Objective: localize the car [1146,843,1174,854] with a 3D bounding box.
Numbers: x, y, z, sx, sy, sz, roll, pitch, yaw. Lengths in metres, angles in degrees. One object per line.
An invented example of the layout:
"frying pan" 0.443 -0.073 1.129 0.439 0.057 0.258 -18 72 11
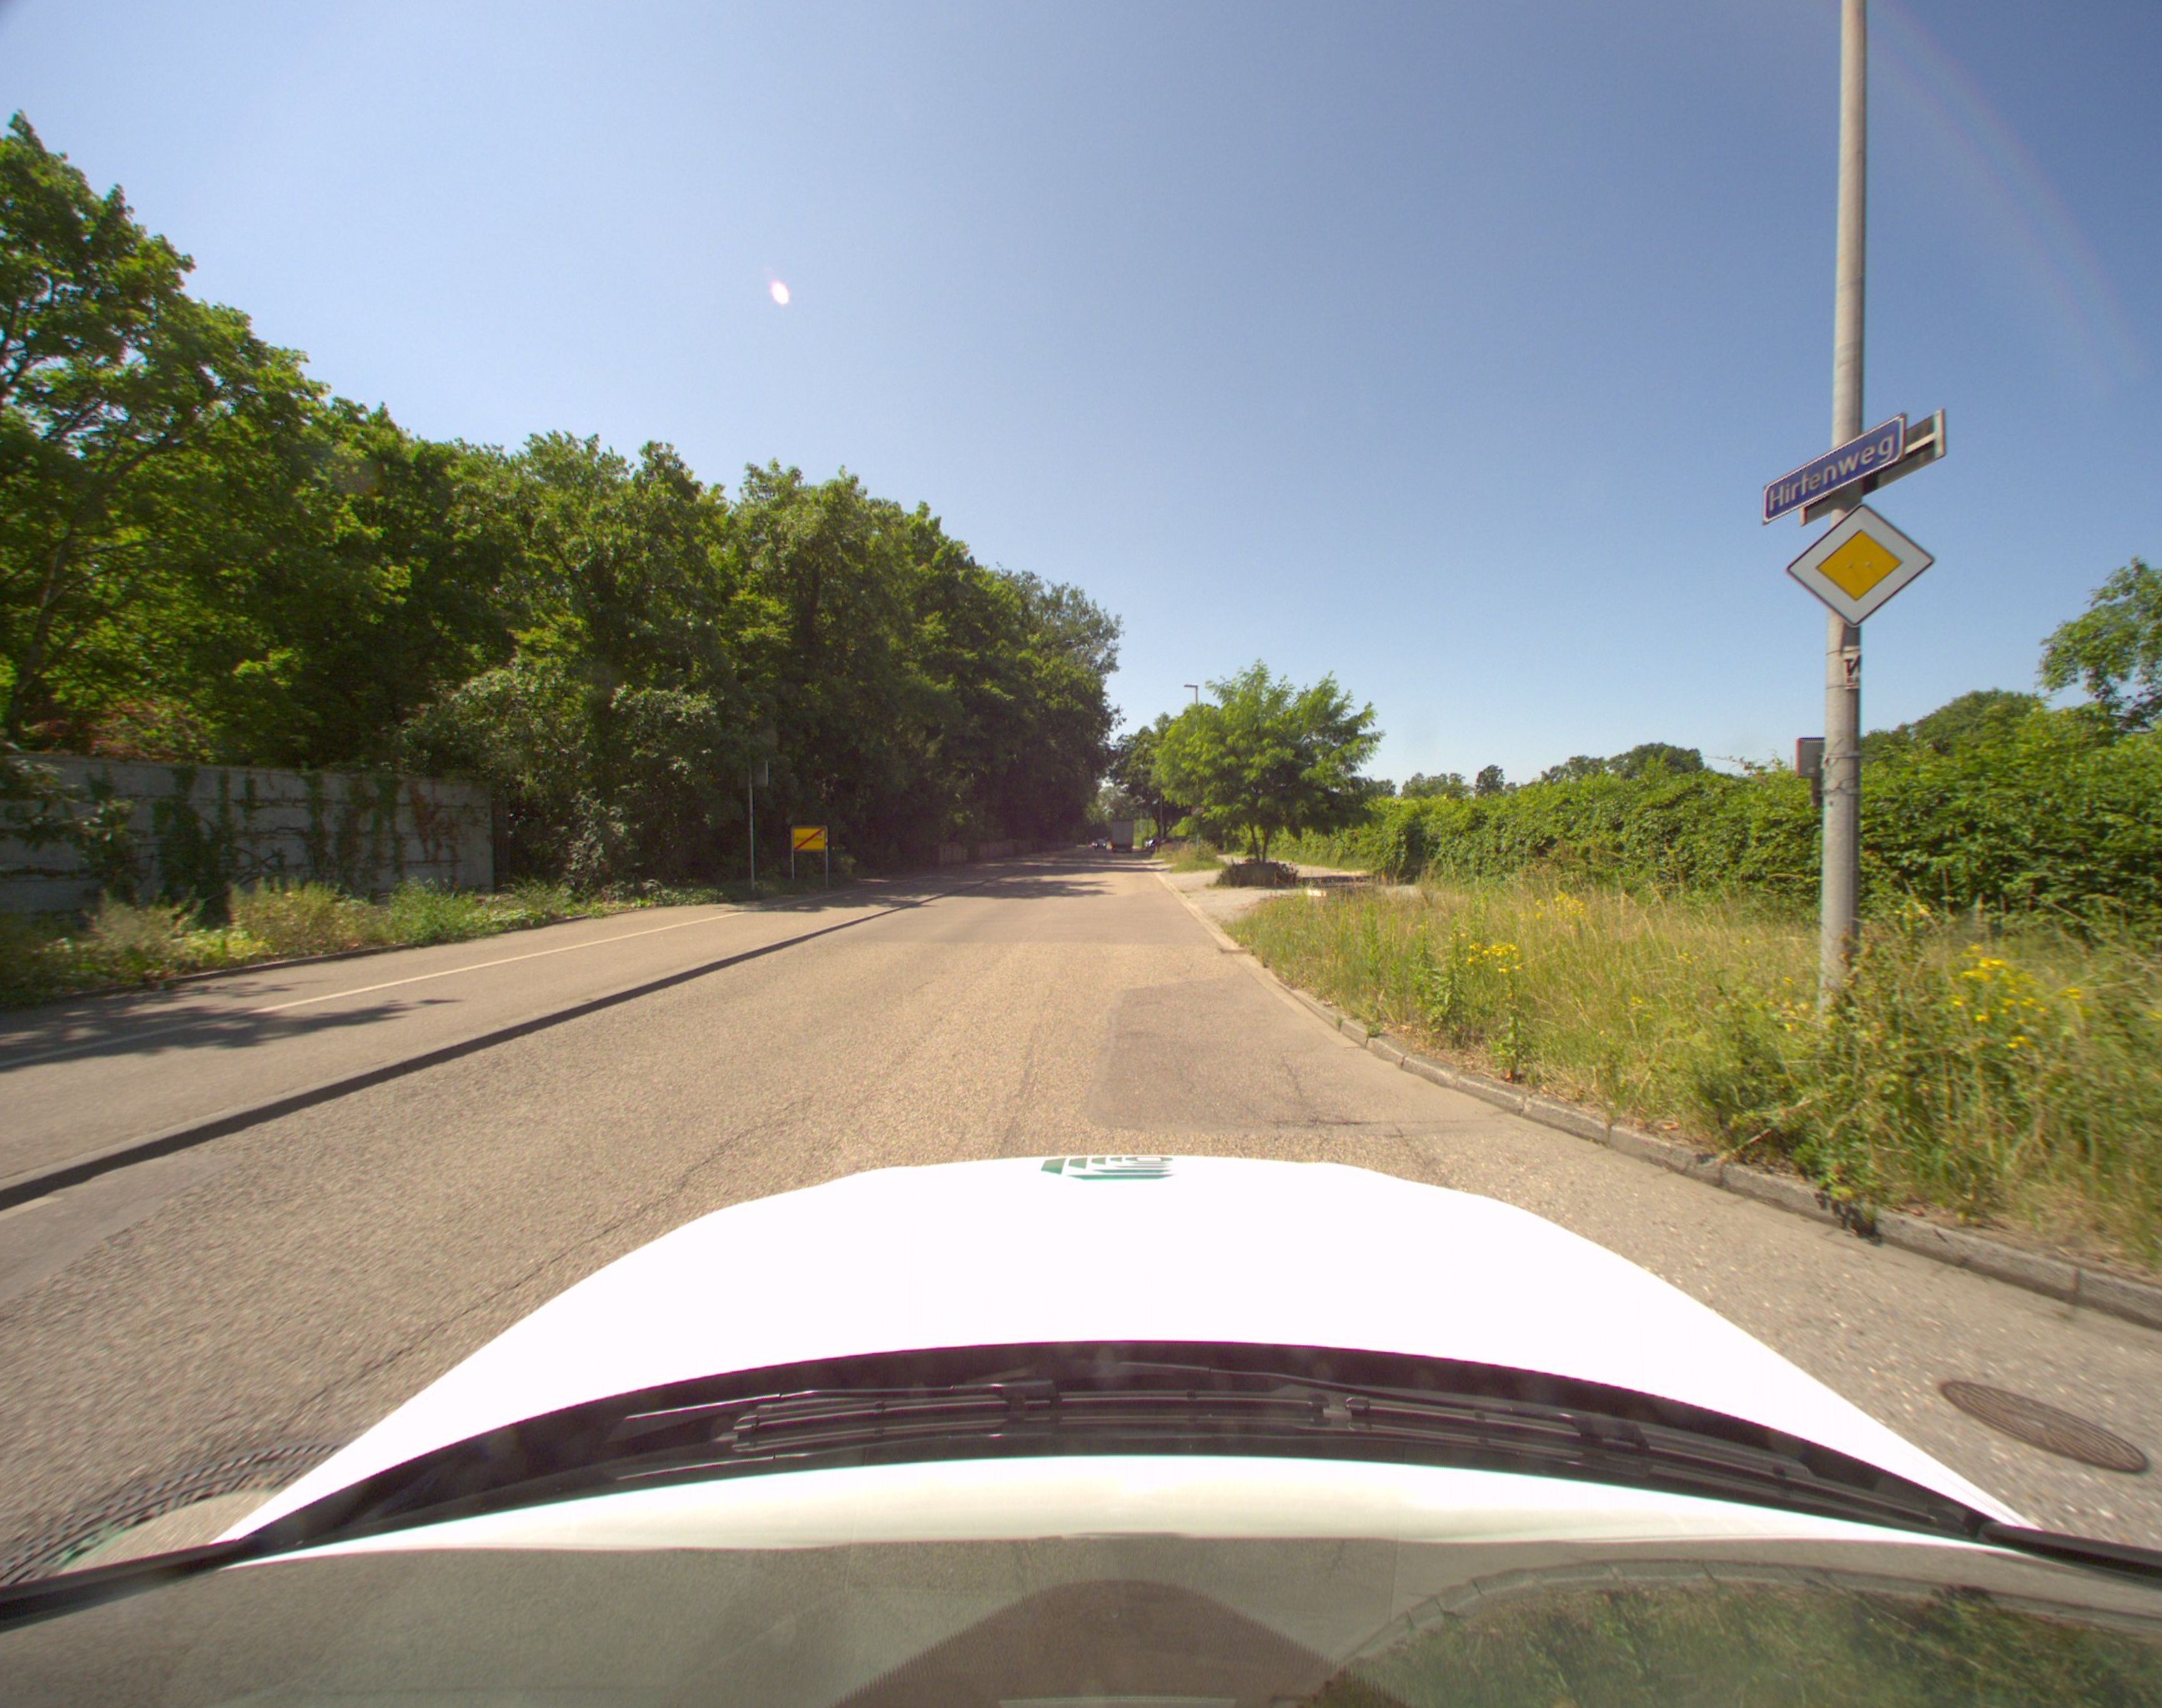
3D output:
"car" 11.856 -0.855 122.560 4.178 1.445 1.740 -2 2 3

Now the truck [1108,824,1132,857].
"truck" 4.736 -1.730 98.512 2.722 3.745 13.259 0 2 3

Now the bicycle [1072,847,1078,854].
"bicycle" -1.025 -0.560 136.954 0.715 1.159 2.233 -2 2 3

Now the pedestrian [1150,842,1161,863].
"pedestrian" 6.099 -0.130 66.694 0.860 1.677 0.886 -2 1 1

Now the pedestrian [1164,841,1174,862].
"pedestrian" 7.303 -0.233 67.639 0.736 1.738 0.886 -2 1 1

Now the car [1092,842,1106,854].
"car" 2.811 -0.867 124.148 1.985 1.683 4.266 -2 2 3

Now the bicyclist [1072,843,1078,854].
"bicyclist" -1.055 -0.963 136.908 0.828 1.716 0.958 -2 1 3
